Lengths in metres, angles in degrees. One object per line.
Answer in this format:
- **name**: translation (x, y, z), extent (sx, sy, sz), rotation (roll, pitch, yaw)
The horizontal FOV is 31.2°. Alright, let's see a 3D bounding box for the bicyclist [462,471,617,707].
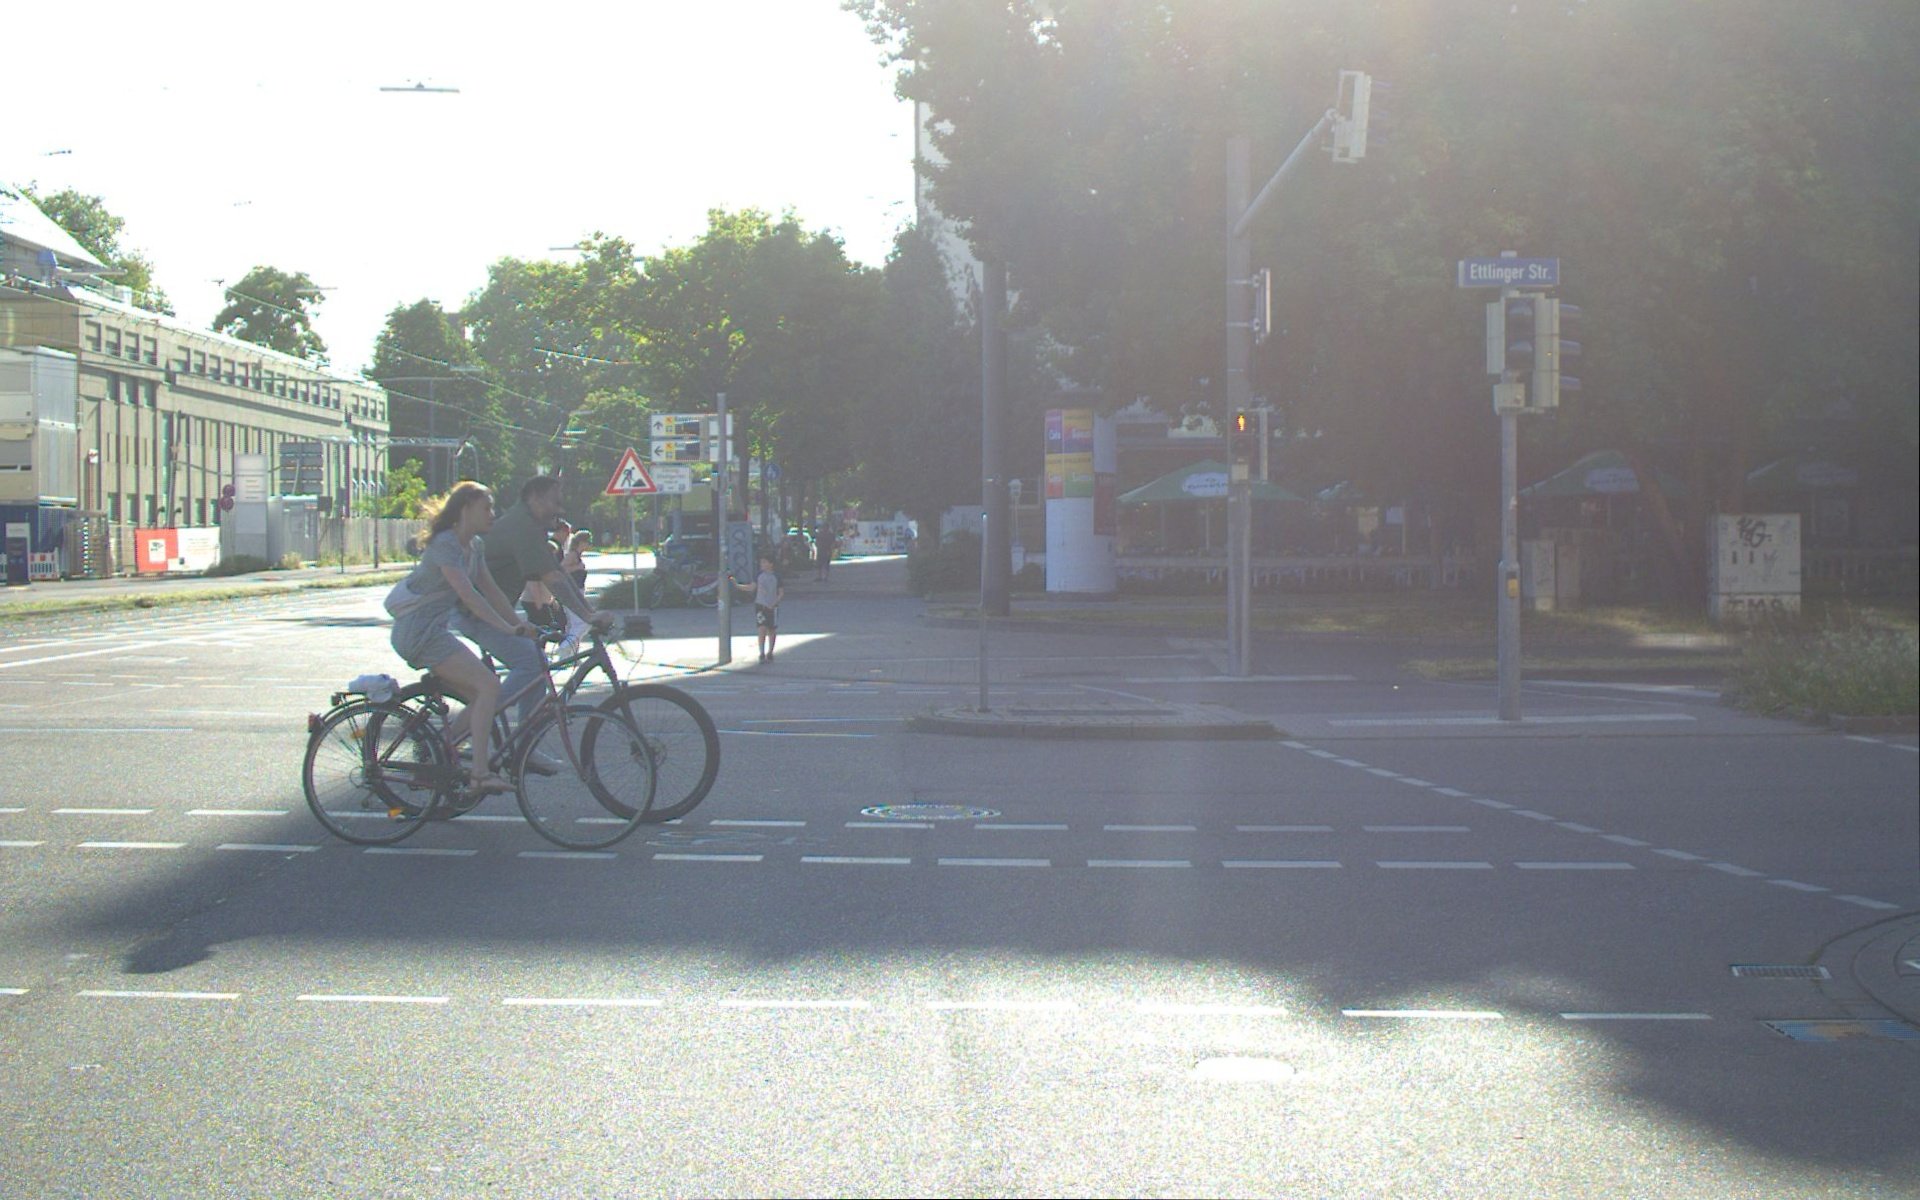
- **bicyclist**: translation (-2.205, -0.064, 18.100), extent (0.720, 1.214, 0.798), rotation (0, 1, -1)

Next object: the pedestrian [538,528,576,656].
- **pedestrian**: translation (-5.266, -0.109, 44.983), extent (0.441, 1.657, 0.376), rotation (-1, 1, -1)

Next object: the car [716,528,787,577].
- **car**: translation (-5.544, -1.279, 91.838), extent (1.819, 1.274, 4.001), rotation (0, 1, -3)

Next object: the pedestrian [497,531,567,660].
- **pedestrian**: translation (-5.458, -0.061, 43.855), extent (0.795, 1.634, 0.533), rotation (0, 1, 2)

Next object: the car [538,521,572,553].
- **car**: translation (-22.817, -3.560, 193.596), extent (1.483, 1.744, 4.000), rotation (-1, 1, -1)

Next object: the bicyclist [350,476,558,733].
- **bicyclist**: translation (-2.448, 0.015, 16.728), extent (0.925, 1.214, 0.797), rotation (0, 1, -3)

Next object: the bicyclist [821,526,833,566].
- **bicyclist**: translation (-3.808, -1.547, 98.419), extent (0.318, 1.123, 0.291), rotation (-1, 1, -1)

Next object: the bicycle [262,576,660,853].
- **bicycle**: translation (-2.401, 0.539, 16.735), extent (1.851, 1.287, 0.792), rotation (0, 1, -4)

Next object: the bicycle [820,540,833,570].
- **bicycle**: translation (-3.824, -1.291, 98.295), extent (0.324, 0.865, 1.483), rotation (-1, 1, -1)

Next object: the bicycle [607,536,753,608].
- **bicycle**: translation (-5.467, -0.549, 67.140), extent (2.748, 1.363, 0.630), rotation (1, 0, 11)

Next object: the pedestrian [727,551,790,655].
- **pedestrian**: translation (-2.599, 0.036, 44.382), extent (0.752, 1.328, 0.742), rotation (0, 1, 1)

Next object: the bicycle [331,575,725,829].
- **bicycle**: translation (-2.250, 0.523, 18.104), extent (1.985, 1.287, 0.792), rotation (0, 1, -2)

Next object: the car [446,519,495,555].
- **car**: translation (-22.797, -2.955, 160.115), extent (1.731, 1.647, 4.000), rotation (0, 1, -1)

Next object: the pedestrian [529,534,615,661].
- **pedestrian**: translation (-4.882, -0.030, 43.298), extent (0.984, 1.582, 0.660), rotation (0, 0, 1)

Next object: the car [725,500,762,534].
- **car**: translation (-13.063, -5.006, 207.723), extent (1.993, 2.007, 4.000), rotation (-1, 1, -1)

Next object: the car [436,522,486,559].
- **car**: translation (-22.642, -2.692, 156.072), extent (1.731, 1.647, 4.000), rotation (0, 1, -1)
